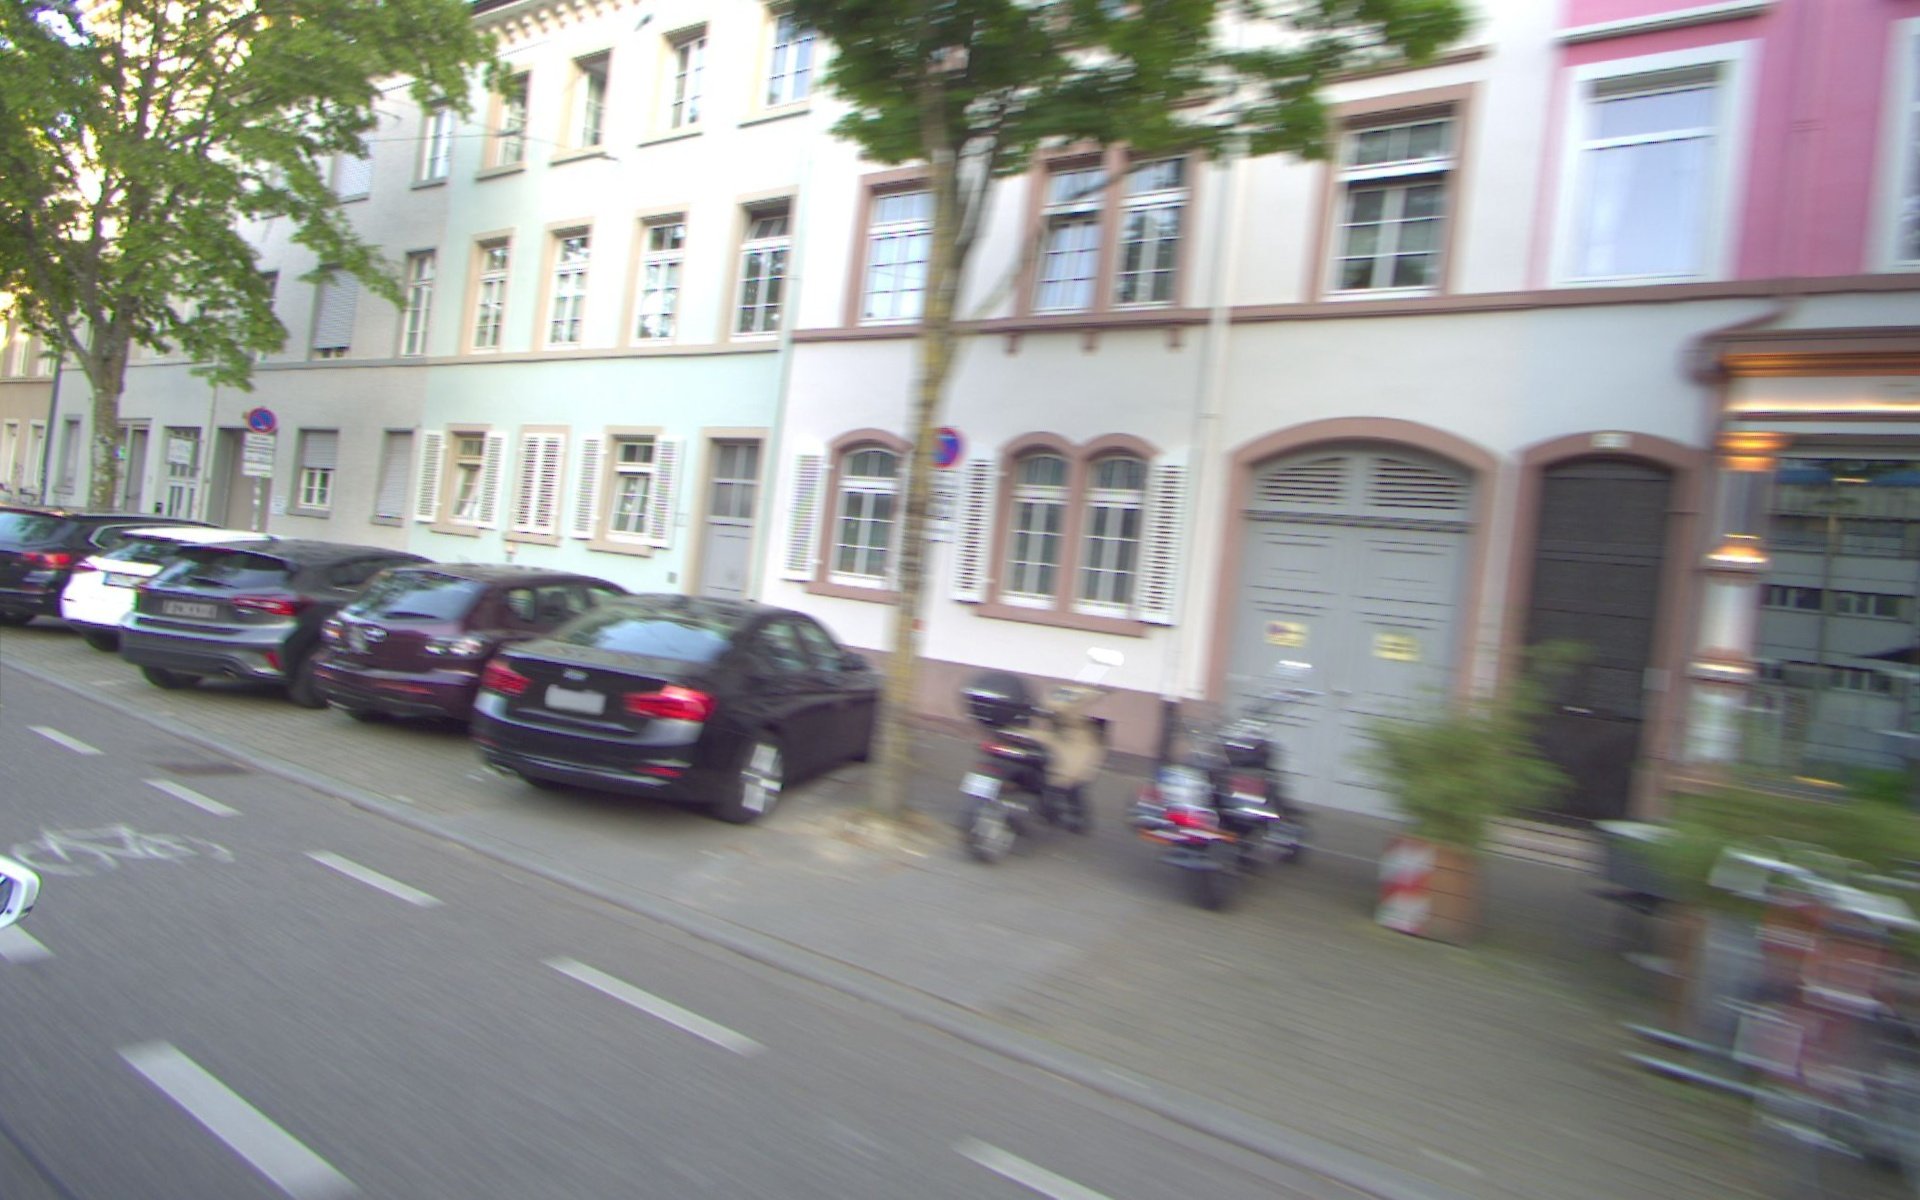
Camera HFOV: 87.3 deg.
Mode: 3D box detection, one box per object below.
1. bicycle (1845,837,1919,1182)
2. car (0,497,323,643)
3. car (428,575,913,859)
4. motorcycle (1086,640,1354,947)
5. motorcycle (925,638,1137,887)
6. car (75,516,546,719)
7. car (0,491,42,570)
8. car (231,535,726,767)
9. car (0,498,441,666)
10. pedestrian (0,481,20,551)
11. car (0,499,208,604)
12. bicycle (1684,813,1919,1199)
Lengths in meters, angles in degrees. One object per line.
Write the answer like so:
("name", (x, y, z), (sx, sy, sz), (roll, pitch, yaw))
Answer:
("bicycle", (3.576, 1.505, 3.250), (0.581, 1.045, 1.865), (7, 2, 29))
("car", (-10.662, -0.408, 12.875), (1.977, 1.489, 4.128), (7, 1, 7))
("car", (-1.864, 0.676, 7.983), (1.788, 1.445, 4.174), (7, 1, 13))
("motorcycle", (1.744, 1.065, 6.382), (0.951, 1.480, 2.225), (7, 1, 30))
("motorcycle", (0.532, 0.975, 6.600), (0.524, 1.361, 1.788), (7, 1, 30))
("car", (-6.297, 0.120, 10.442), (1.789, 1.490, 4.128), (7, 1, 7))
("car", (-20.953, -1.602, 19.411), (1.982, 1.568, 4.263), (7, 0, 21))
("car", (-4.110, 0.370, 9.415), (1.963, 1.489, 3.960), (7, 2, 15))
("car", (-8.576, -0.205, 12.210), (1.949, 1.490, 4.128), (7, 1, 7))
("pedestrian", (-26.027, -2.293, 27.233), (0.596, 1.836, 0.566), (7, 0, 31))
("car", (-14.352, -0.790, 15.442), (1.977, 1.409, 4.266), (7, 0, 8))
("bicycle", (3.080, 1.470, 3.563), (0.524, 1.045, 1.905), (7, 2, 30))
